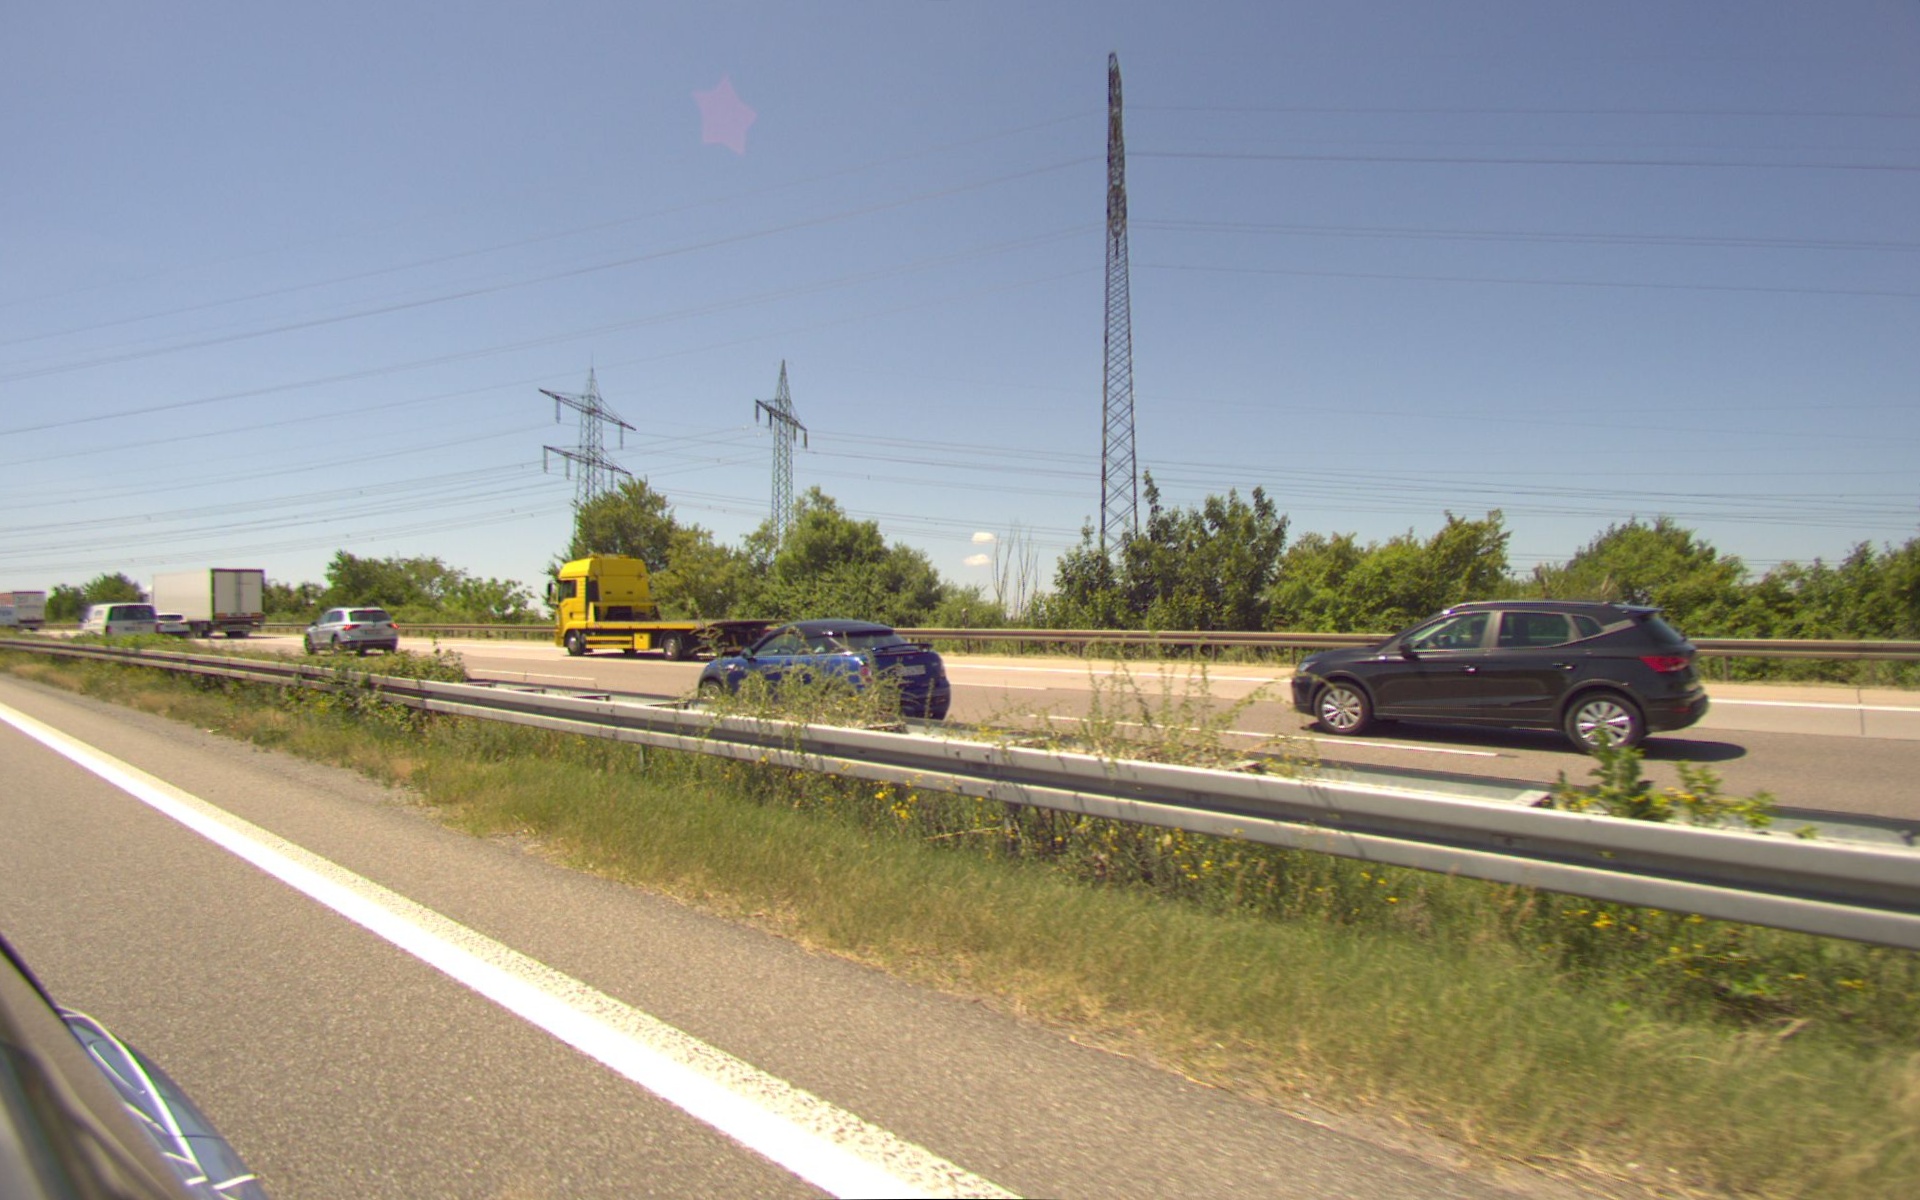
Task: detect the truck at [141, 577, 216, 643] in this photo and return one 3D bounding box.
[{"bbox_3d":[-51.504,0.687,66.662,5.161,4.112,2.802,-3,-1,40],"label":"truck"}]

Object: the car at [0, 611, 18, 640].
[{"bbox_3d":[-85.181,2.239,89.408,6.483,2.489,1.974,-1,0,39],"label":"car"}]

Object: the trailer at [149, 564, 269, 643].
[{"bbox_3d":[-46.563,0.373,62.496,13.625,4.290,2.806,-3,-1,40],"label":"trailer"}]

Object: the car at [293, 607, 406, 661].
[{"bbox_3d":[-21.232,1.135,35.122,4.811,1.749,1.973,-1,-1,41],"label":"car"}]

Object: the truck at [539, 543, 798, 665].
[{"bbox_3d":[-9.024,0.177,30.320,9.659,3.176,2.496,-1,-1,40],"label":"truck"}]

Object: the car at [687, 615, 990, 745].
[{"bbox_3d":[-1.617,0.888,12.658,3.827,1.364,1.614,-1,0,41],"label":"car"}]

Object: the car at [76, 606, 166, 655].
[{"bbox_3d":[-34.957,1.230,42.097,5.718,1.896,1.973,-1,-1,41],"label":"car"}]

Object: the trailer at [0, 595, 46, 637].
[{"bbox_3d":[-98.466,1.770,105.902,13.576,4.073,2.481,-3,-1,41],"label":"trailer"}]

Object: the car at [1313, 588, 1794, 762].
[{"bbox_3d":[6.309,0.681,11.017,4.233,1.521,1.958,-1,0,41],"label":"car"}]

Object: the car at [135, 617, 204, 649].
[{"bbox_3d":[-41.829,1.724,53.516,4.723,1.560,1.973,-1,-1,40],"label":"car"}]
